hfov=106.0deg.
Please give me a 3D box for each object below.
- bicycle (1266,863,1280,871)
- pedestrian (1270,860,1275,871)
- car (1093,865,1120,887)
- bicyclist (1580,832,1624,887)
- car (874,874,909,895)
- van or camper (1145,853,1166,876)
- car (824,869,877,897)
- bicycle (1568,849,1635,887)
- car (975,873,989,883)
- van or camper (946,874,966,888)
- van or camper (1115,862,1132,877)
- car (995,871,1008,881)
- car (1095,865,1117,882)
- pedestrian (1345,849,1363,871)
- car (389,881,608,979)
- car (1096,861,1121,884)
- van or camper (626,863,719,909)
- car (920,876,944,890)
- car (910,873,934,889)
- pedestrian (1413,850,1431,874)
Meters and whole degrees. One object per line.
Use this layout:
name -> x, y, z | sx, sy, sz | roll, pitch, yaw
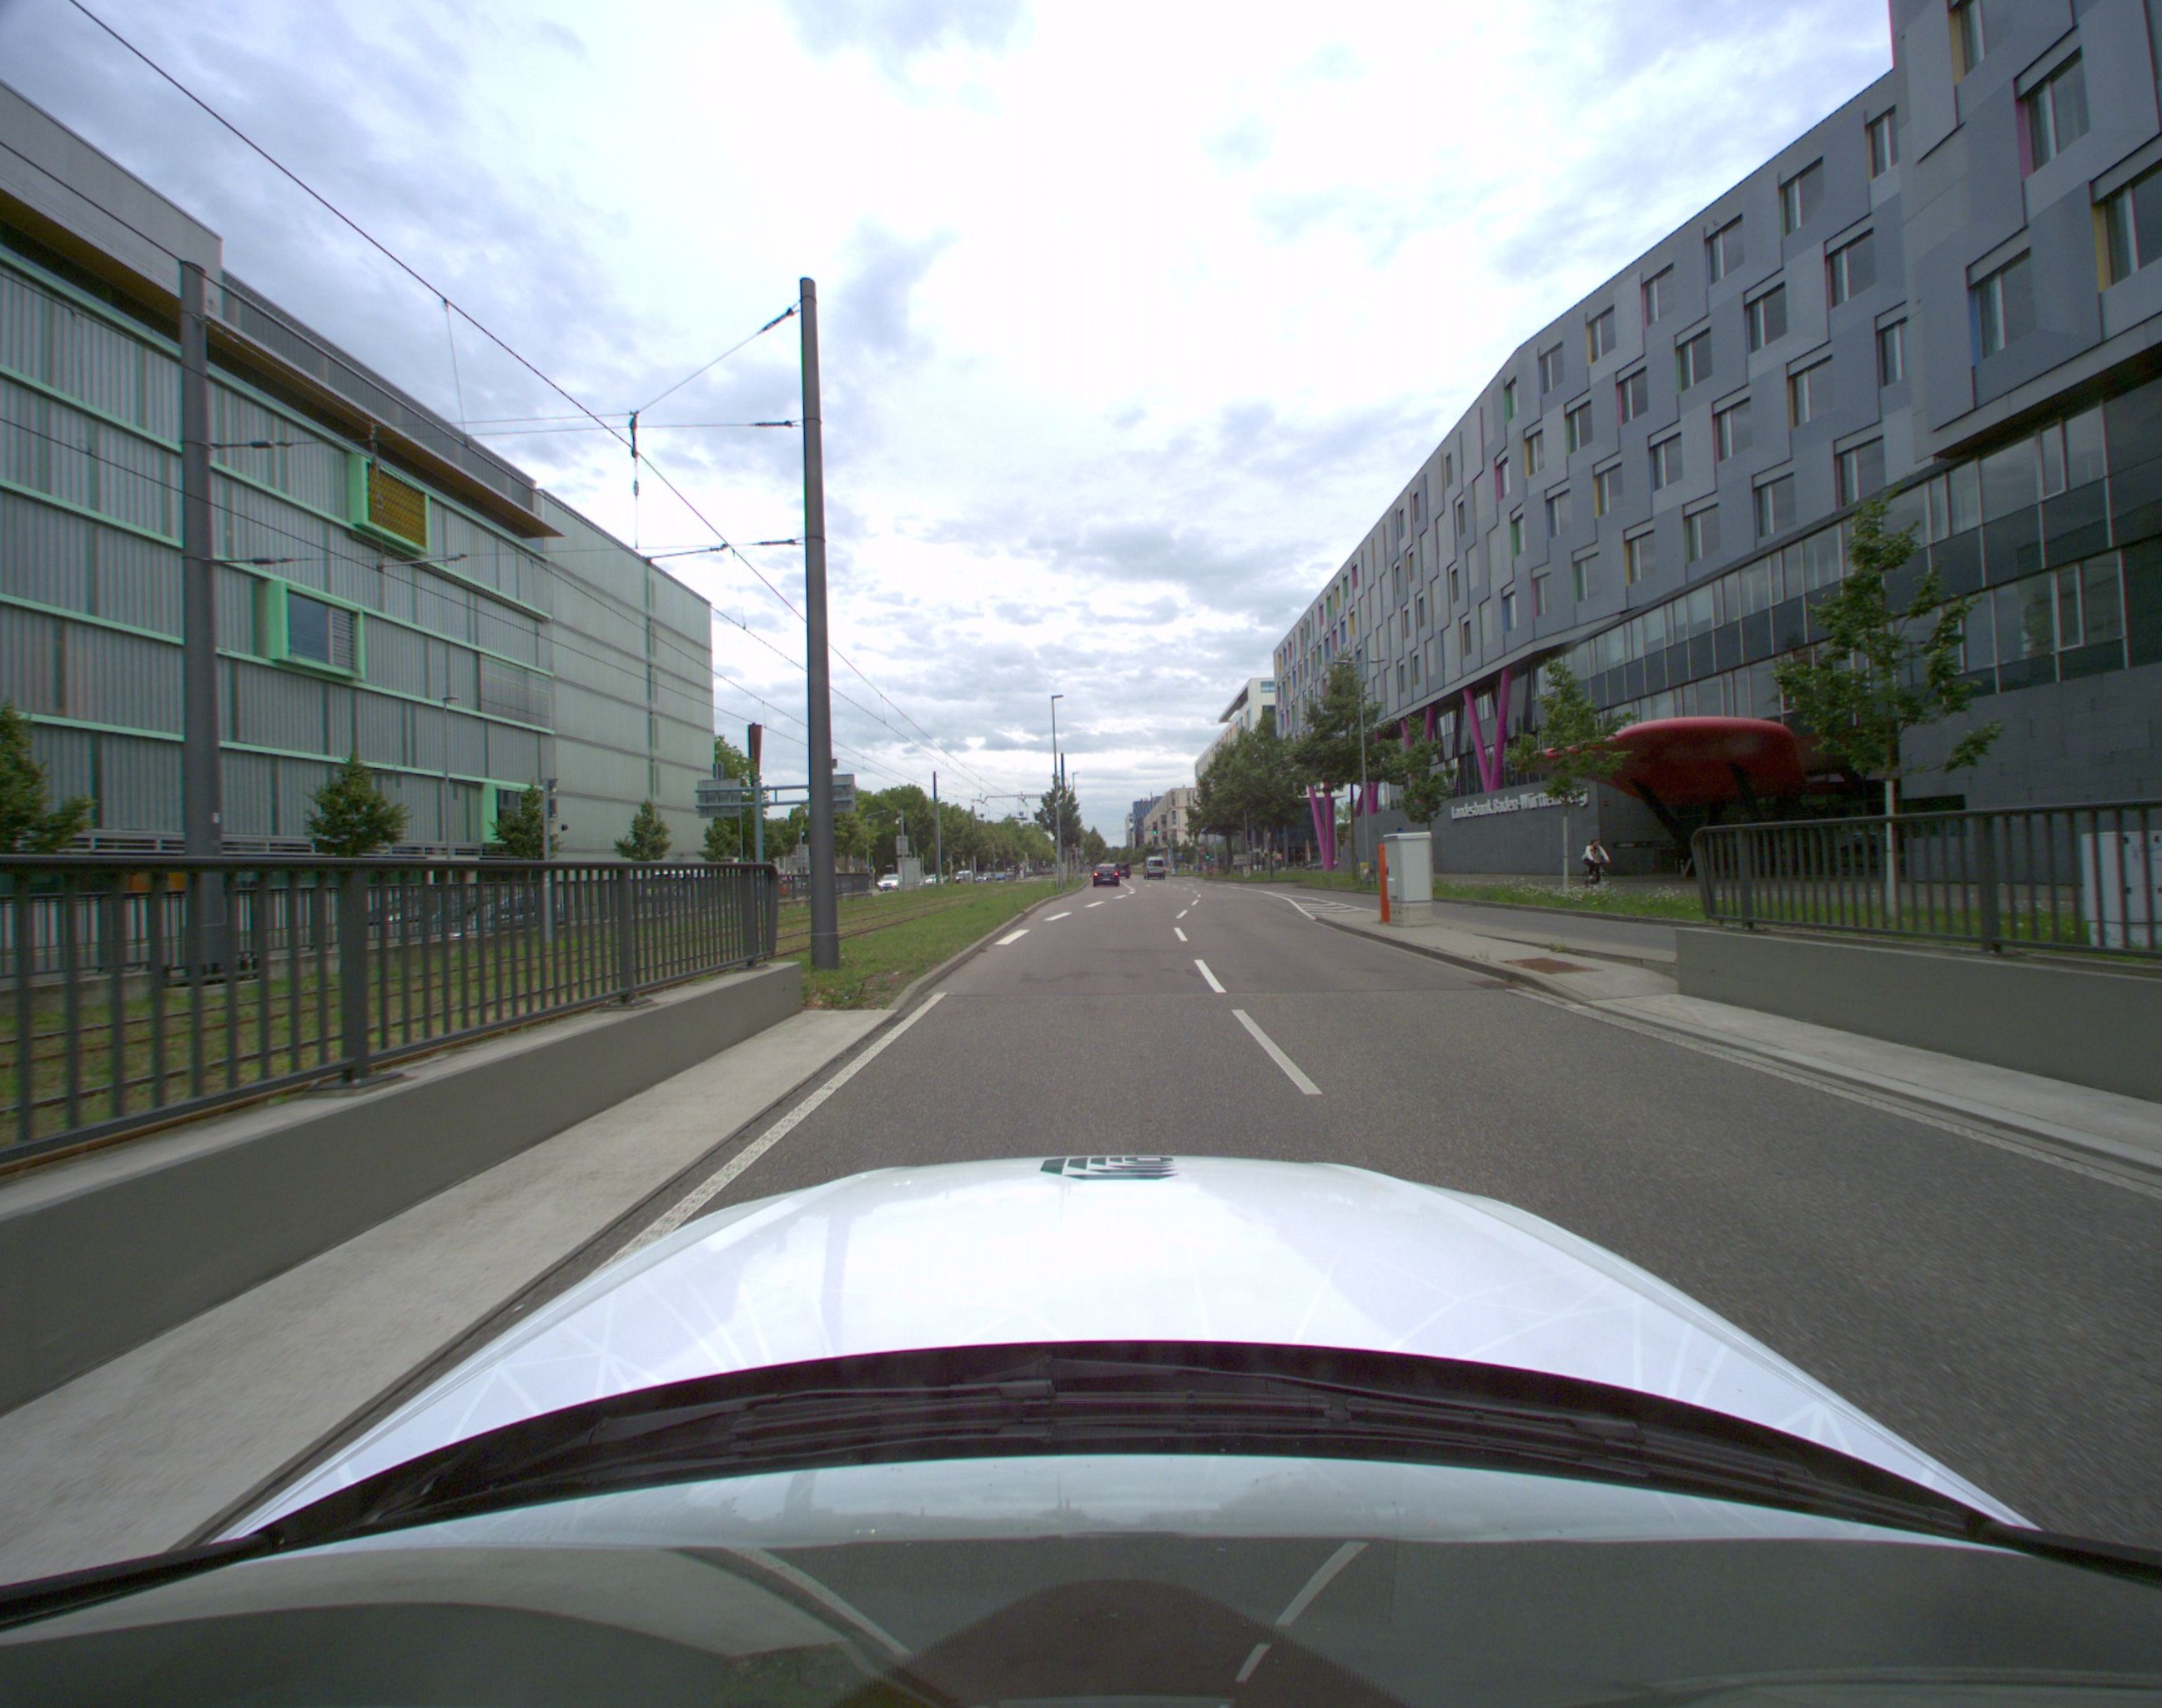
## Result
bicycle -> 27.387, 1.917, 116.302 | 1.784, 1.085, 0.618 | -2, -1, 3
pedestrian -> 27.335, 1.656, 116.310 | 0.612, 1.604, 0.619 | -2, -1, 4
car -> 1.718, 1.487, 55.942 | 1.737, 1.417, 4.000 | -1, -1, 1
bicyclist -> 17.322, 0.185, 27.118 | 0.768, 1.786, 0.974 | -2, -1, -1
car -> -17.045, 2.730, 73.373 | 1.987, 1.586, 4.379 | -2, 0, 0
van or camper -> 8.262, 1.185, 90.827 | 2.101, 2.356, 4.926 | -2, 1, 2
car -> -14.693, 1.825, 52.173 | 1.775, 1.514, 4.973 | -2, 0, 1
bicycle -> 17.335, 0.448, 27.202 | 0.780, 1.194, 2.220 | -2, 0, 0
car -> -15.702, 3.760, 129.086 | 1.724, 1.445, 4.917 | -4, 0, -3
van or camper -> -17.369, 3.743, 113.687 | 1.883, 1.900, 5.124 | -3, -1, 0
van or camper -> 5.057, 1.831, 97.149 | 1.986, 1.615, 4.791 | -2, 0, 2
car -> -14.830, 4.109, 152.370 | 1.957, 1.588, 4.689 | -1, -1, 1
car -> 2.536, 1.934, 82.020 | 1.985, 1.682, 4.004 | -1, -1, 4
pedestrian -> 22.425, 0.485, 66.887 | 1.047, 1.770, 1.137 | -2, -1, 2
car -> -14.821, 1.831, 21.188 | 1.987, 1.762, 4.973 | -1, 3, 0
car -> 2.109, 1.381, 62.271 | 1.796, 1.624, 4.001 | -2, -1, 2
van or camper -> -22.164, 1.662, 44.462 | 2.165, 2.286, 5.360 | -2, -1, 1
car -> -17.641, 3.386, 96.550 | 1.756, 1.479, 4.574 | -3, -1, 1
car -> -21.087, 3.569, 108.258 | 1.986, 2.014, 5.297 | -2, -1, 2
pedestrian -> 22.959, 0.553, 54.860 | 0.781, 1.583, 0.915 | -2, -1, 2
